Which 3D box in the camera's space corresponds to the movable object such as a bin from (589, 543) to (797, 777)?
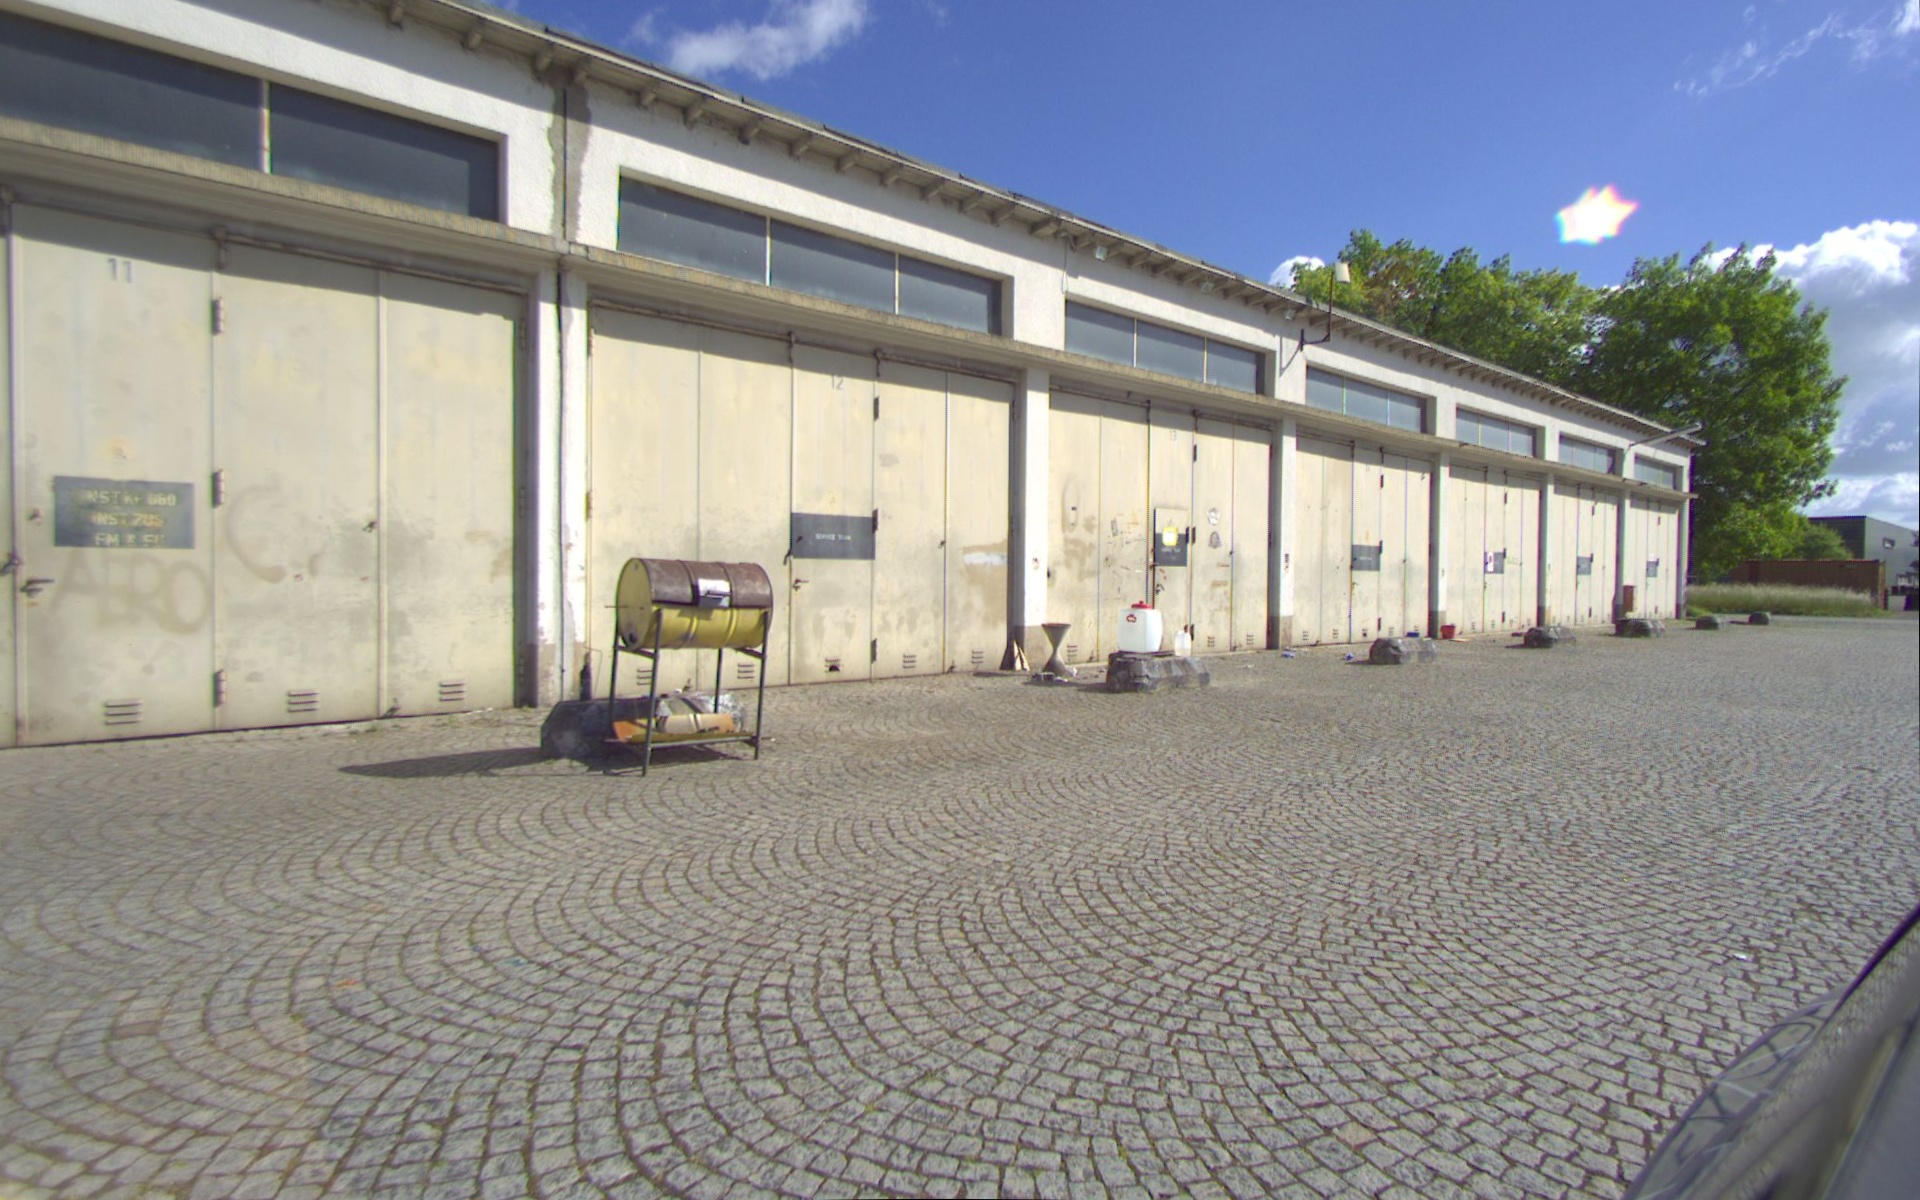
[{"bbox_3d":[-1.791,0.344,6.804,1.082,1.418,0.876,-1,2,-42],"label":"movable object such as a bin"}]
